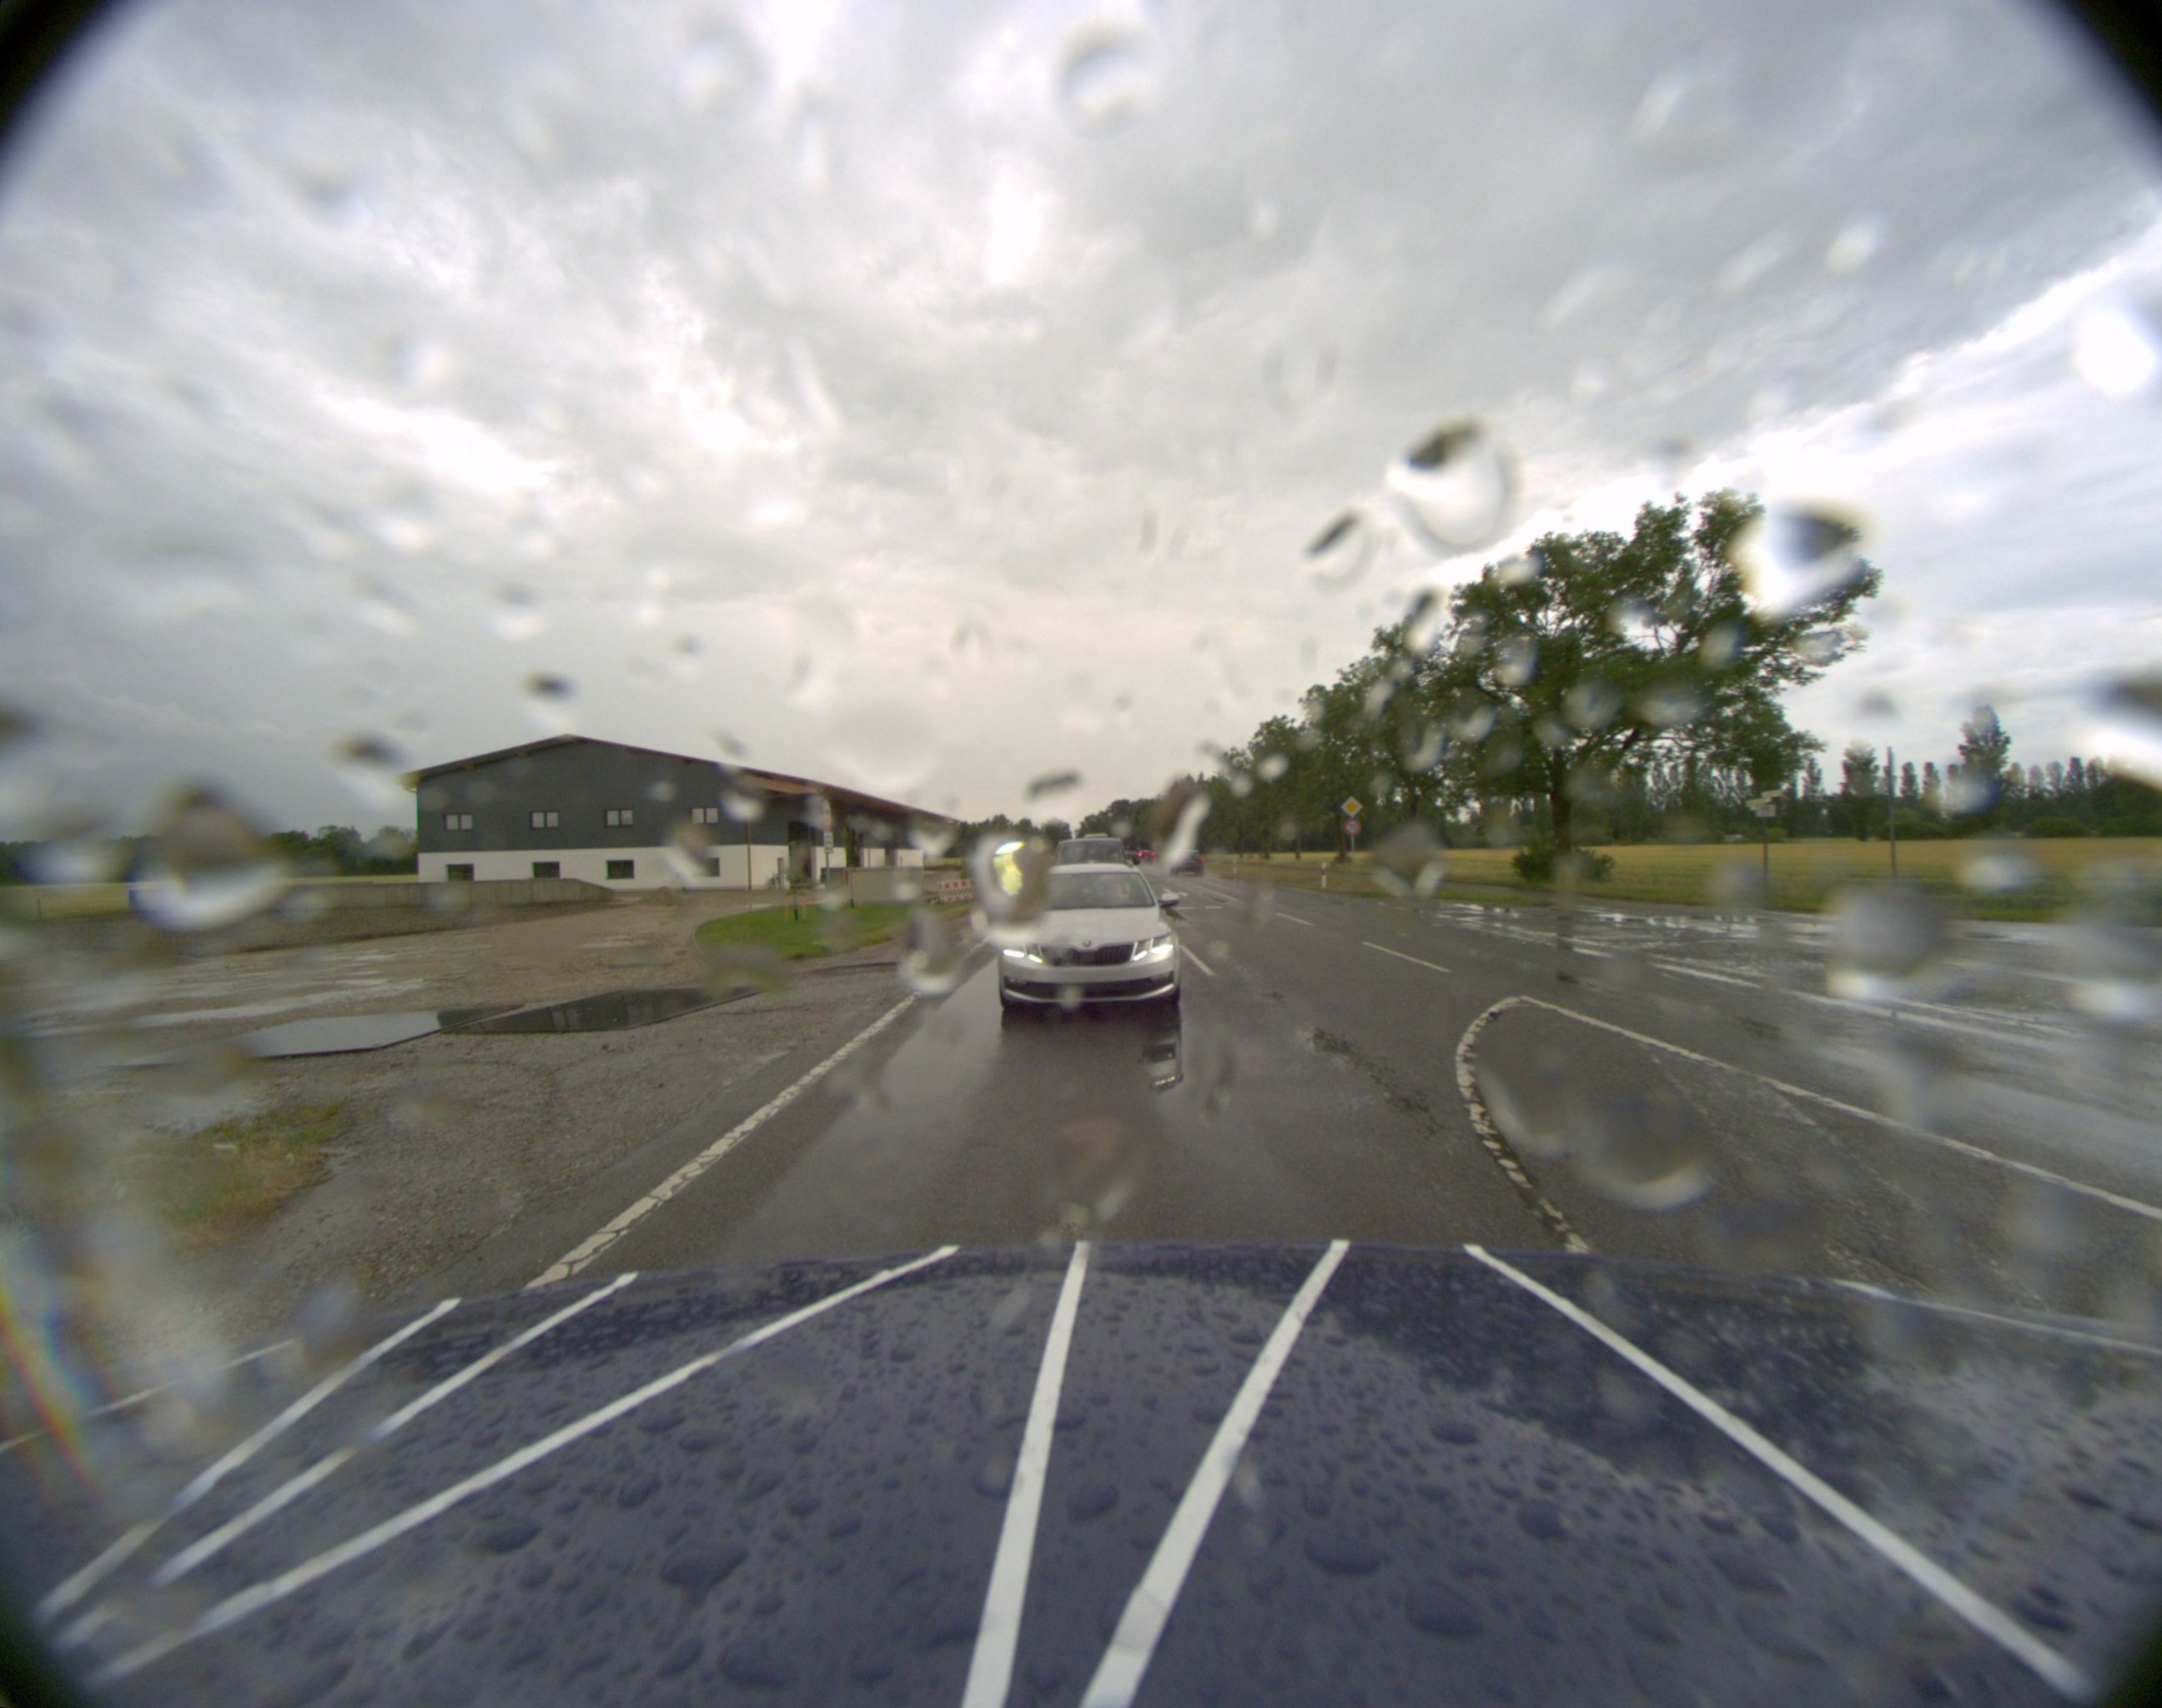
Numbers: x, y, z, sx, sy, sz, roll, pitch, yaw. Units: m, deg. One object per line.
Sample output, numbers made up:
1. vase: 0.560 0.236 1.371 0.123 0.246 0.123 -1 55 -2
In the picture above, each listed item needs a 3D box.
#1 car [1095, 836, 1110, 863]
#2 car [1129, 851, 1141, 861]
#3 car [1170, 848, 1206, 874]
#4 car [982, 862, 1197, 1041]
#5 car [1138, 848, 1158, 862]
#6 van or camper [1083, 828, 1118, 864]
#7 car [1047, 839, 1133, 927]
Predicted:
1. car: 2.597 -0.566 92.555 1.771 3.134 4.028 -2 1 1
2. car: 8.247 0.304 116.262 1.716 1.397 3.814 0 0 3
3. car: 6.655 0.409 47.754 1.773 1.514 4.141 -1 0 1
4. car: 0.135 0.841 8.647 1.770 1.365 4.575 -2 1 2
5. car: 7.781 0.084 88.322 1.949 1.571 4.443 0 0 1
6. van or camper: 2.076 -0.844 80.695 3.342 3.624 8.373 -2 1 2
7. car: 0.265 0.616 18.972 1.841 1.888 4.575 -2 1 2
